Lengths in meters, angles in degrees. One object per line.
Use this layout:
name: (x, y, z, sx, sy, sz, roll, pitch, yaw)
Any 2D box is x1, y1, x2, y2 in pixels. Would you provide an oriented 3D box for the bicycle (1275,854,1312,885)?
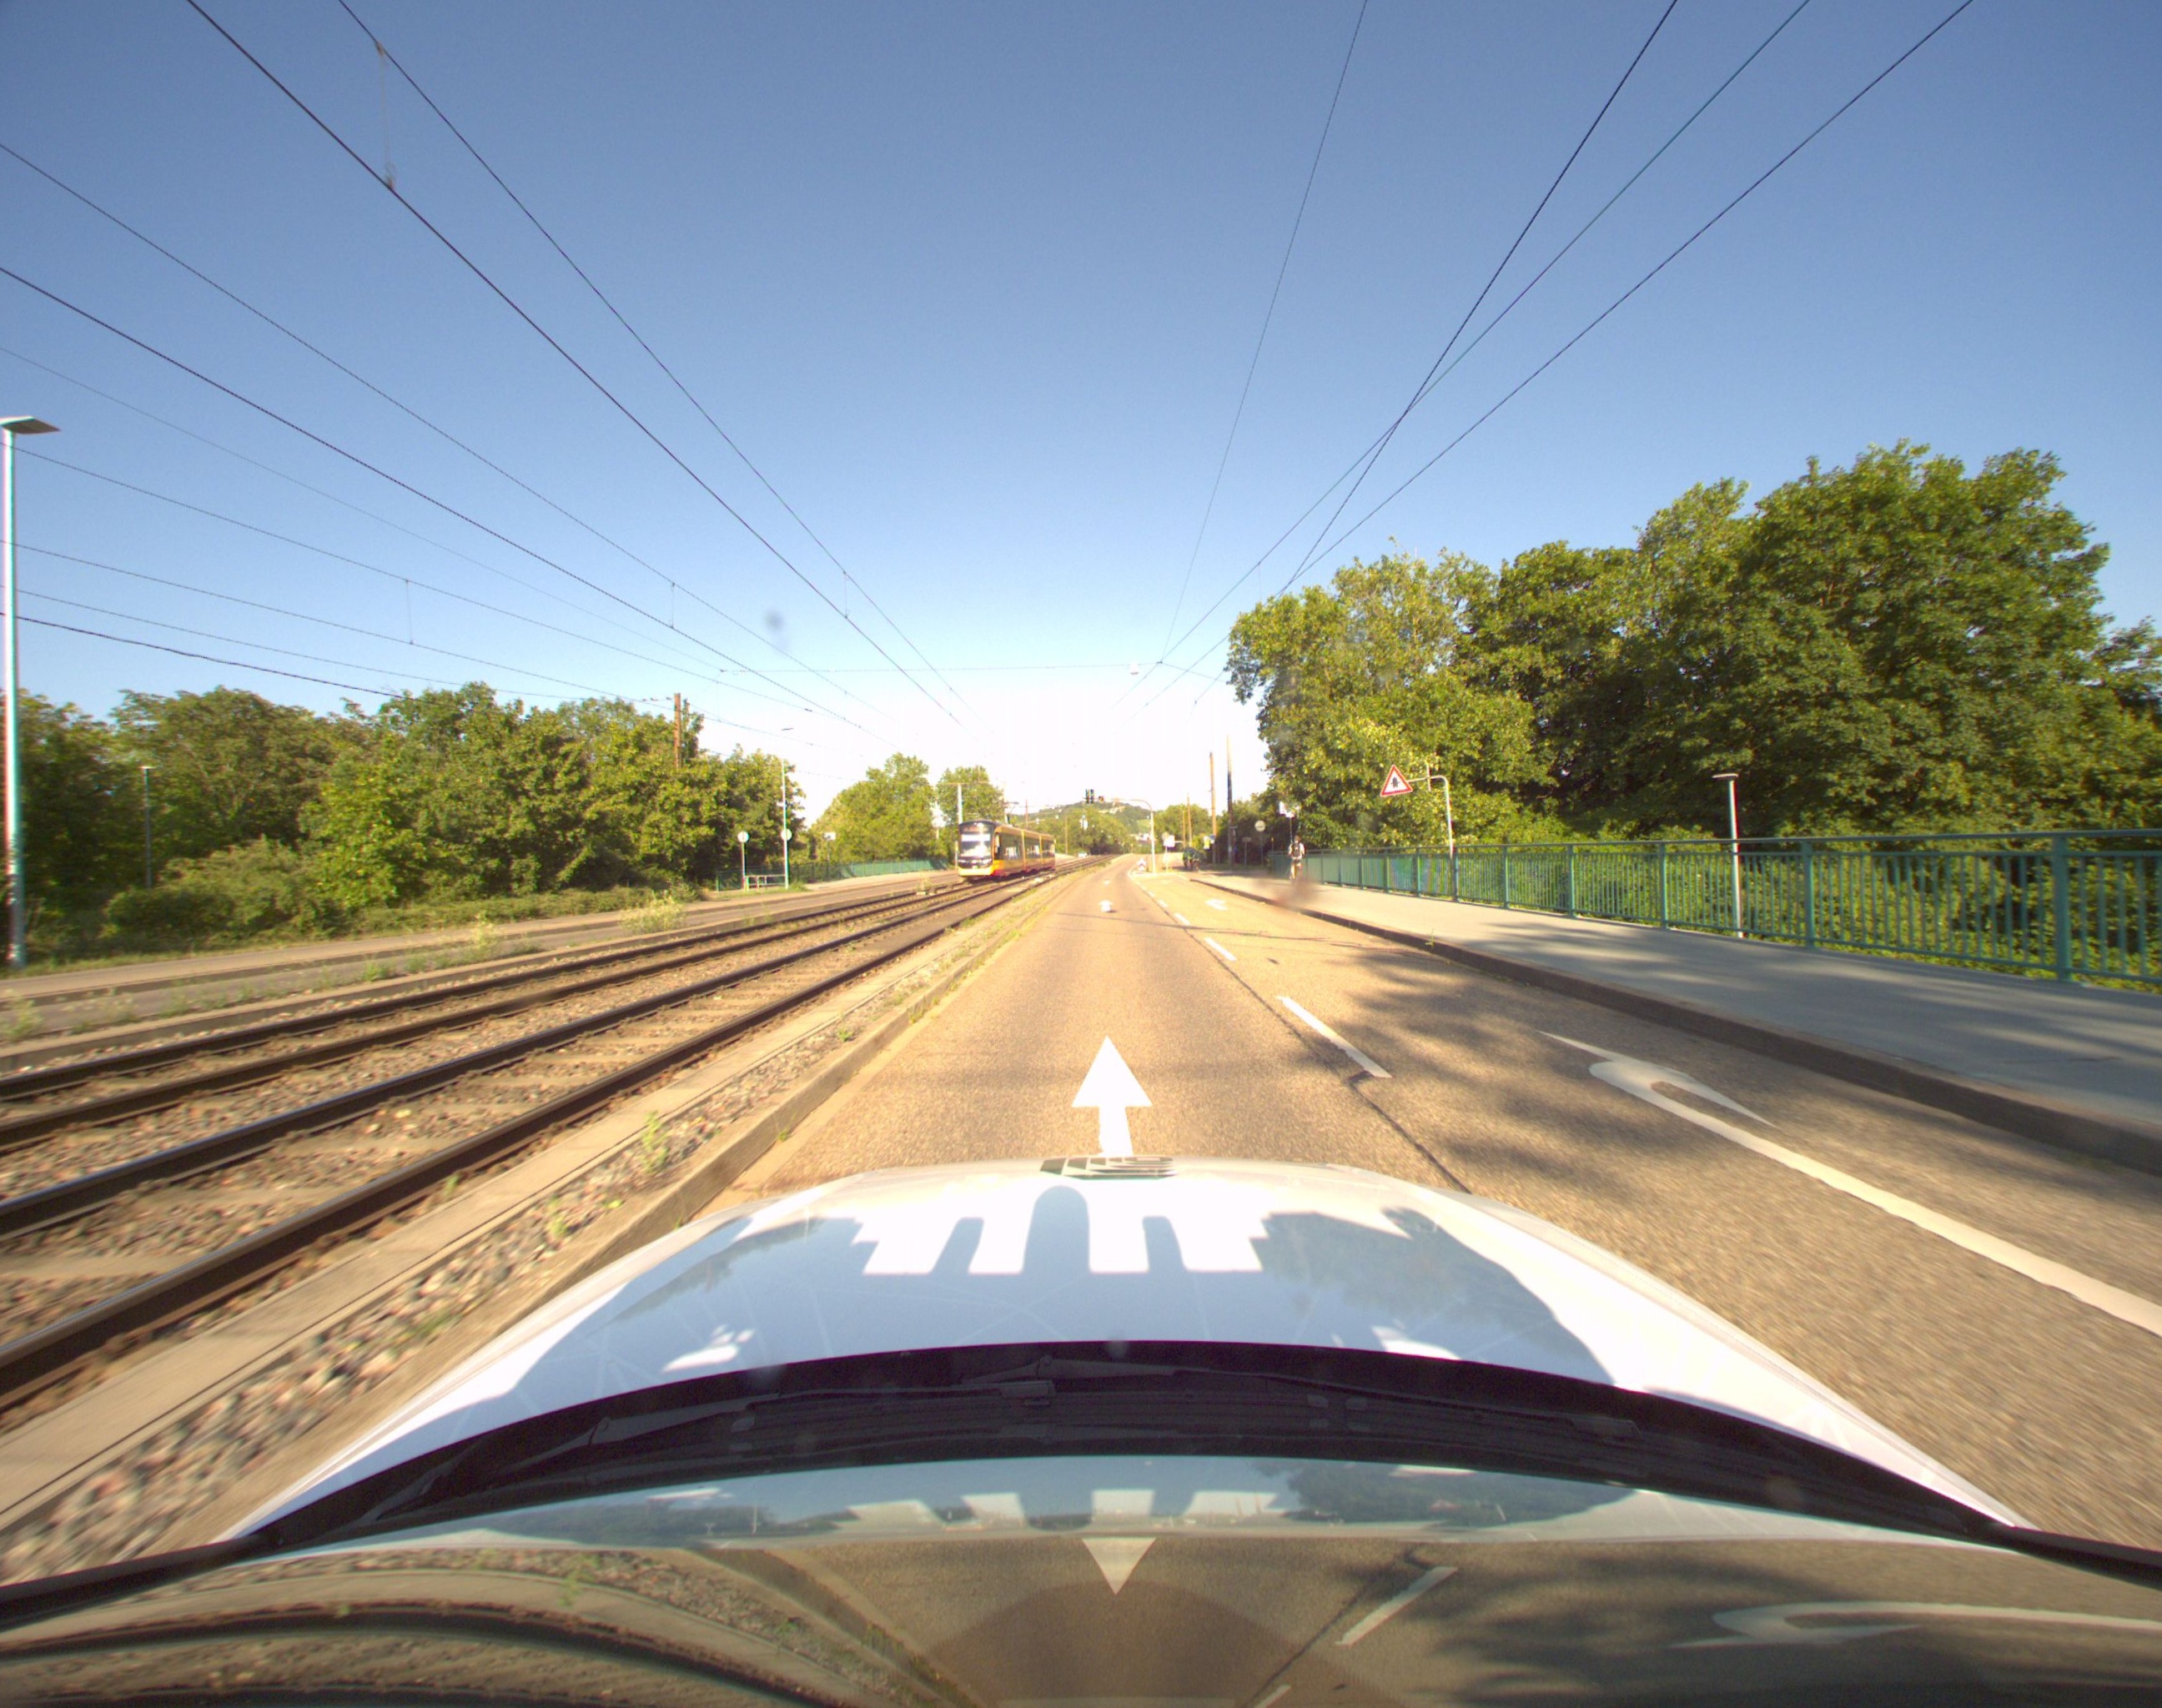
bicycle: (8.014, 0.567, 30.843, 0.728, 1.122, 2.743, -1, 0, 1)

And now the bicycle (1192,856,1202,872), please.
bicycle: (9.064, 0.781, 63.697, 0.680, 1.122, 2.220, -1, 1, 6)

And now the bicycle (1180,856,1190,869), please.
bicycle: (9.179, 0.716, 71.865, 0.623, 1.122, 2.260, -1, 0, 2)

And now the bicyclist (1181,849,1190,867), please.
bicyclist: (9.168, 0.342, 71.662, 0.623, 1.508, 1.006, -1, 0, 1)

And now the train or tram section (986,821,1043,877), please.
train or tram section: (-4.981, -0.355, 63.654, 2.965, 3.900, 11.670, -2, 0, 2)

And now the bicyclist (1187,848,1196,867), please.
bicyclist: (9.286, 0.272, 68.618, 0.622, 1.592, 0.931, -1, 0, 2)

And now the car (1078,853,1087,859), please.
car: (0.413, 0.553, 192.414, 1.675, 1.356, 4.928, -1, 0, 6)

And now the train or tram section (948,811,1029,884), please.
train or tram section: (-5.491, -0.362, 51.288, 2.992, 3.900, 13.087, -2, 0, 2)

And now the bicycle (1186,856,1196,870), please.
bicycle: (9.261, 0.731, 68.659, 0.622, 1.122, 2.043, -1, 0, 3)

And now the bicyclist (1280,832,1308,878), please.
bicyclist: (8.011, 0.053, 30.684, 0.728, 1.689, 1.202, -1, 0, 1)

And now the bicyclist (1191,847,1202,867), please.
bicyclist: (9.040, 0.247, 63.671, 0.808, 1.562, 0.898, -1, 1, 5)

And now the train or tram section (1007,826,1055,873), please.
train or tram section: (-4.430, -0.359, 75.816, 2.966, 3.900, 12.711, -2, 0, 3)
